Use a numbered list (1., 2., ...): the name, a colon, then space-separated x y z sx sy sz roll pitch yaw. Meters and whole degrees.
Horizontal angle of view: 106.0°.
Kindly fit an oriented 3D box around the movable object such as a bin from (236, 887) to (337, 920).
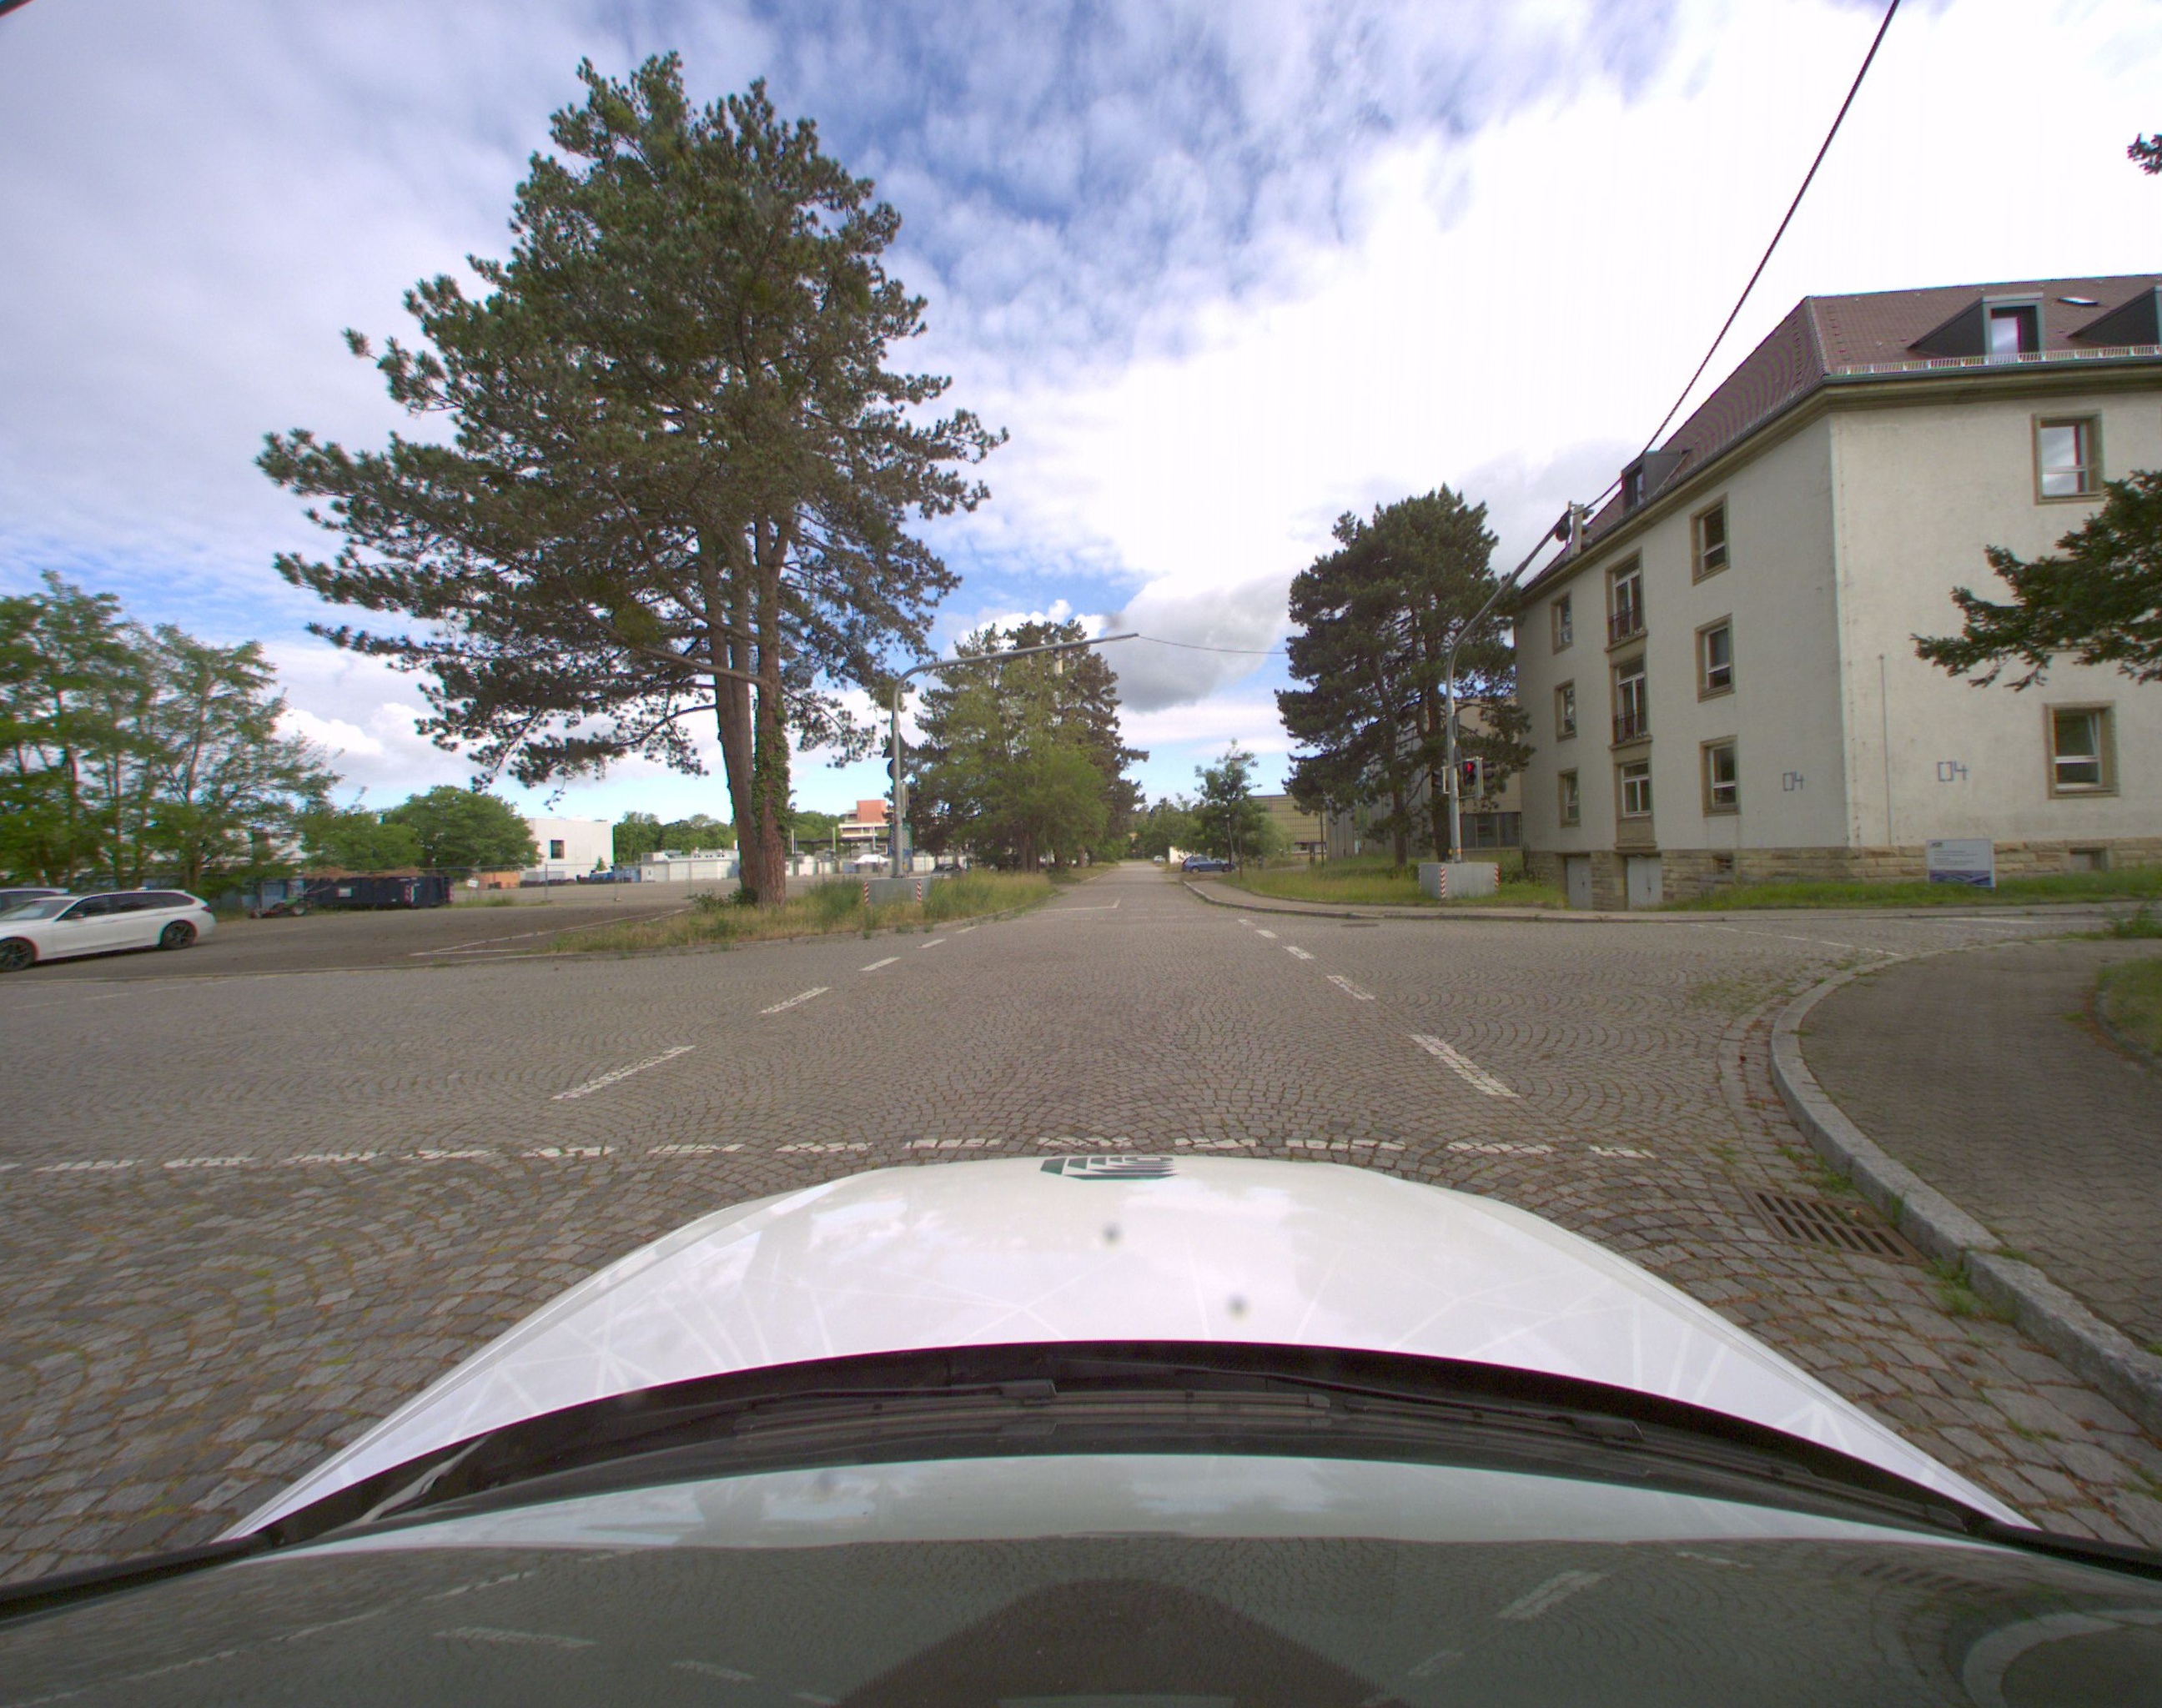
1. movable object such as a bin: -29.675 1.828 30.502 1.174 1.048 2.657 -2 0 -1

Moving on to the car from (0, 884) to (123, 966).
1. car: -24.184 1.644 17.543 1.815 1.584 4.328 -2 2 1

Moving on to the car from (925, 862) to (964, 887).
1. car: -9.030 1.341 54.244 1.606 1.487 4.005 -2 0 4

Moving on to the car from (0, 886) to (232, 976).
1. car: -21.693 1.599 17.485 1.803 1.441 4.742 -2 2 1

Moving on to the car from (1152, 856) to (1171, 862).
1. car: 18.270 1.135 184.902 3.976 1.398 1.999 -2 0 -2

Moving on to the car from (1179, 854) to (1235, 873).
1. car: 10.476 0.749 67.886 4.327 1.422 2.001 -2 0 2
